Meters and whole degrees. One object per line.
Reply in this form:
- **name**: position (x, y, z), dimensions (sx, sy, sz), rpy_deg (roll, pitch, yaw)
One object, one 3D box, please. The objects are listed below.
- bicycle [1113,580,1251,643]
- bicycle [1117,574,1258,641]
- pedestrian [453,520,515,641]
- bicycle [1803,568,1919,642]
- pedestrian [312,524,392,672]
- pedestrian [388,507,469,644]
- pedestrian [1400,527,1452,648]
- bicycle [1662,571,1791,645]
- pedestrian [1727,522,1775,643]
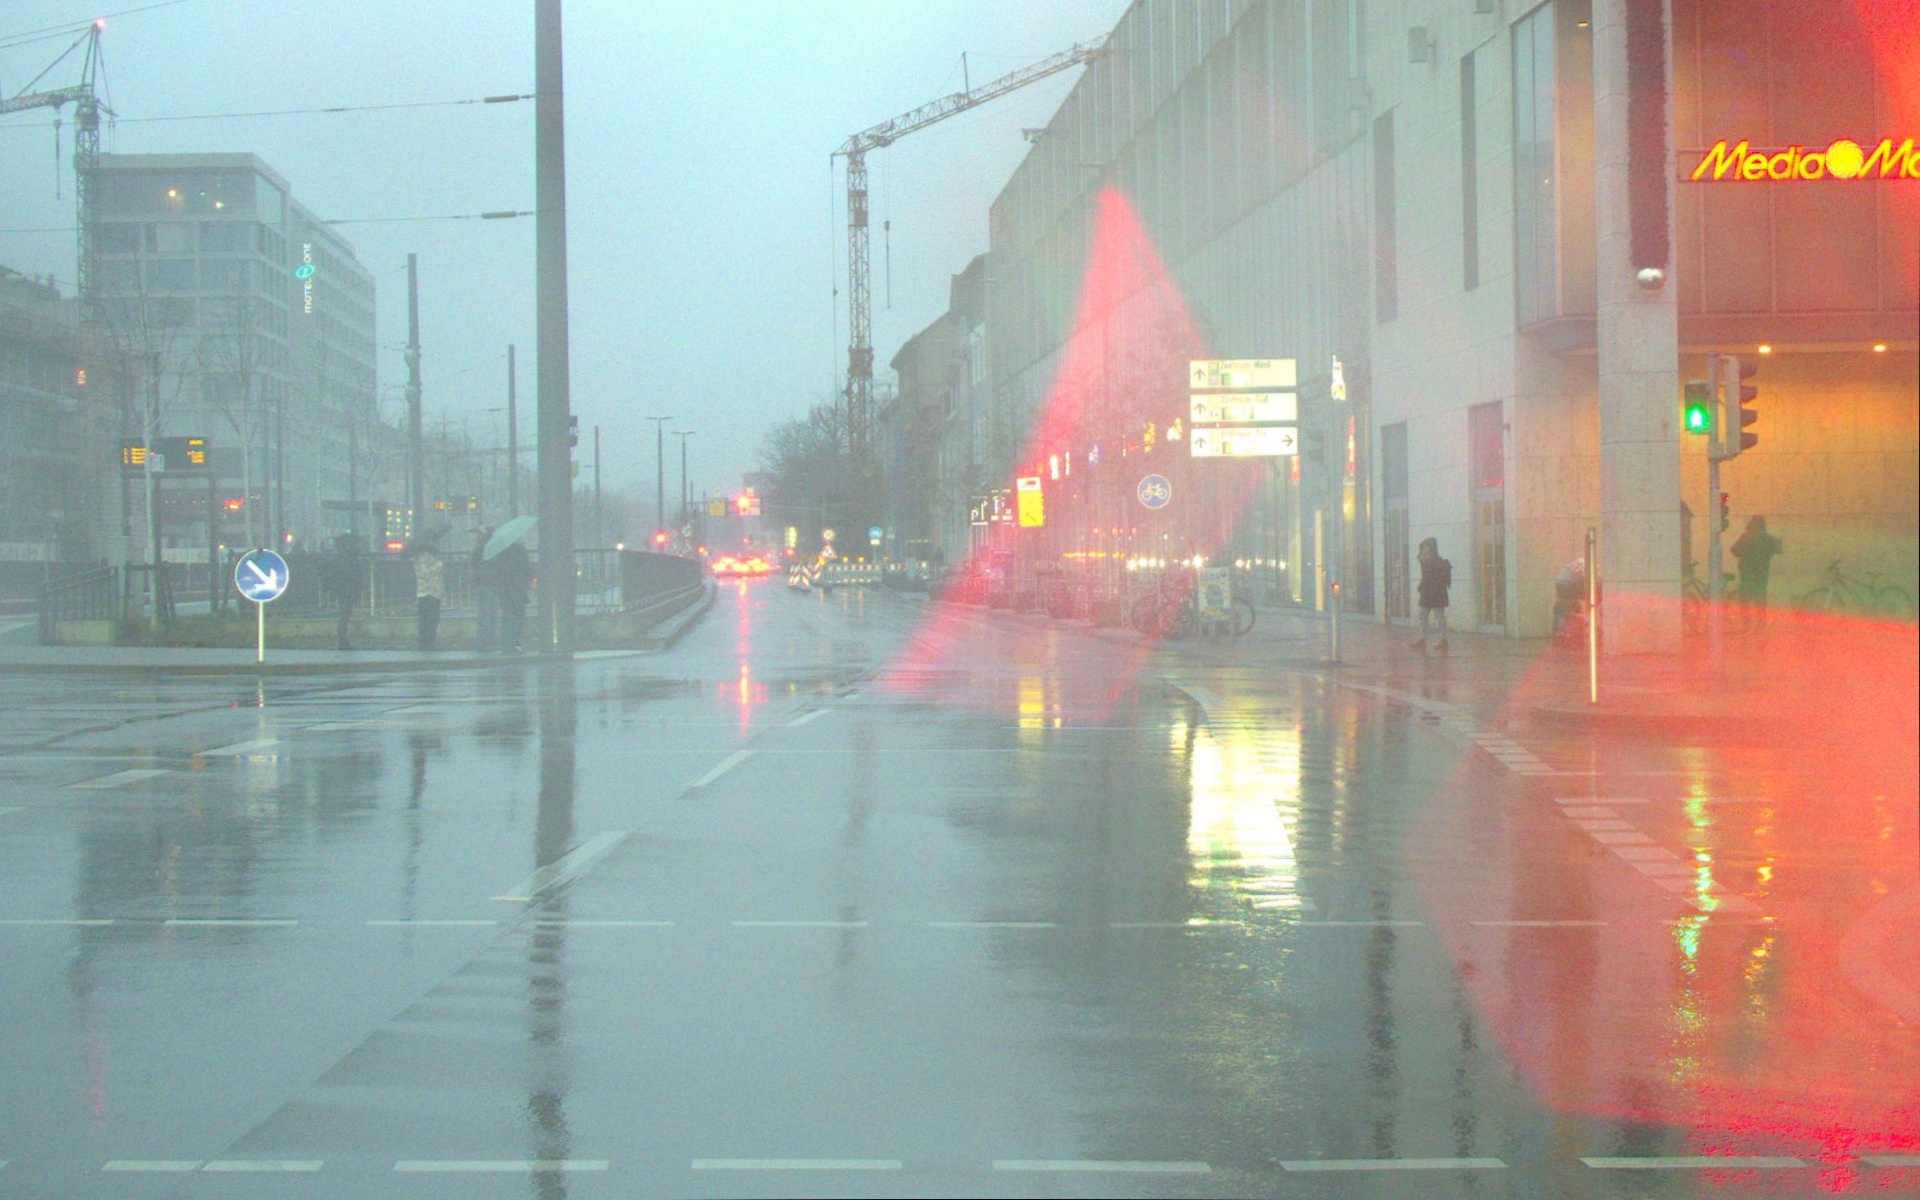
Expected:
- **bicycle**: position (4.019, 0.209, 62.397), dimensions (2.425, 1.095, 0.712), rpy_deg (-1, 0, -2)
- **bicycle**: position (4.070, 0.130, 61.593), dimensions (2.442, 1.150, 0.674), rpy_deg (-1, 0, -1)
- **pedestrian**: position (-6.639, -0.272, 47.994), dimensions (0.612, 1.680, 0.577), rpy_deg (1, 1, 42)
- **bicycle**: position (13.362, 0.073, 50.813), dimensions (1.646, 1.066, 0.525), rpy_deg (1, 0, -4)
- **pedestrian**: position (-8.382, -0.030, 47.389), dimensions (0.785, 2.007, 0.726), rpy_deg (1, 1, 42)
- **pedestrian**: position (-7.191, -0.331, 46.513), dimensions (0.821, 1.825, 0.786), rpy_deg (1, 0, -31)
- **pedestrian**: position (6.636, -0.173, 48.972), dimensions (0.636, 1.703, 0.573), rpy_deg (-1, 0, -1)
- **bicycle**: position (11.301, 0.114, 50.679), dimensions (1.767, 1.066, 0.525), rpy_deg (1, 0, -8)
- **pedestrian**: position (11.452, -0.250, 49.766), dimensions (0.600, 1.739, 0.524), rpy_deg (1, 0, 8)
